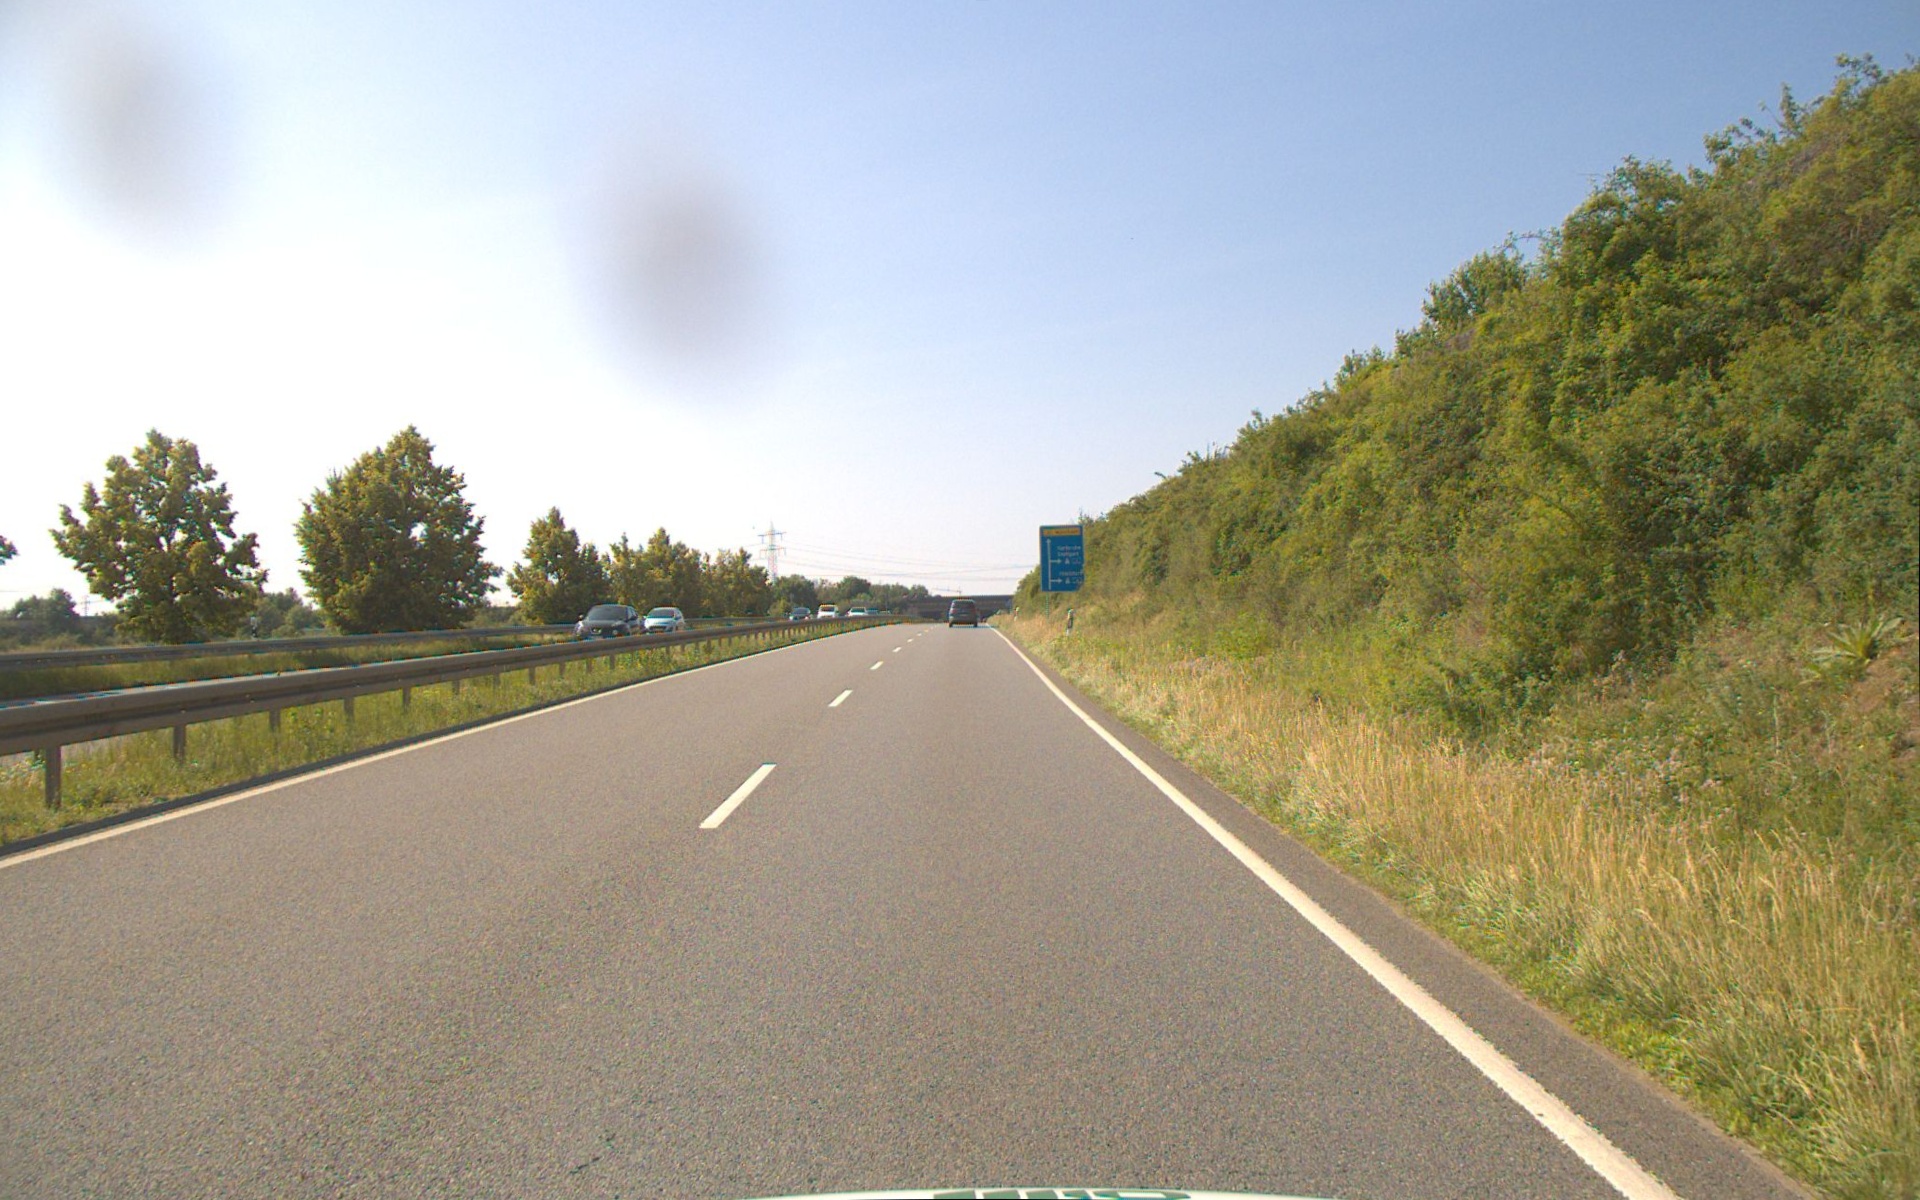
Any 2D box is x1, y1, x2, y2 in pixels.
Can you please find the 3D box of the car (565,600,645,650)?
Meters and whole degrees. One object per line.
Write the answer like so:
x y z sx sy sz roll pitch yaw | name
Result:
-11.752 0.809 55.008 1.655 1.568 4.244 -1 0 1 | car

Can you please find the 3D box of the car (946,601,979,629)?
0.172 0.932 100.911 1.811 1.673 4.001 -1 -1 3 | car

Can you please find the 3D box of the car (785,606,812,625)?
-13.595 1.285 139.150 1.801 1.498 4.459 -1 0 0 | car

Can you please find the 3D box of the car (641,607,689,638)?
-14.280 1.072 80.169 1.655 1.462 3.939 -1 0 -1 | car

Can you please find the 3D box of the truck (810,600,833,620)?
-13.961 0.992 166.758 1.883 1.872 5.292 0 0 0 | truck
